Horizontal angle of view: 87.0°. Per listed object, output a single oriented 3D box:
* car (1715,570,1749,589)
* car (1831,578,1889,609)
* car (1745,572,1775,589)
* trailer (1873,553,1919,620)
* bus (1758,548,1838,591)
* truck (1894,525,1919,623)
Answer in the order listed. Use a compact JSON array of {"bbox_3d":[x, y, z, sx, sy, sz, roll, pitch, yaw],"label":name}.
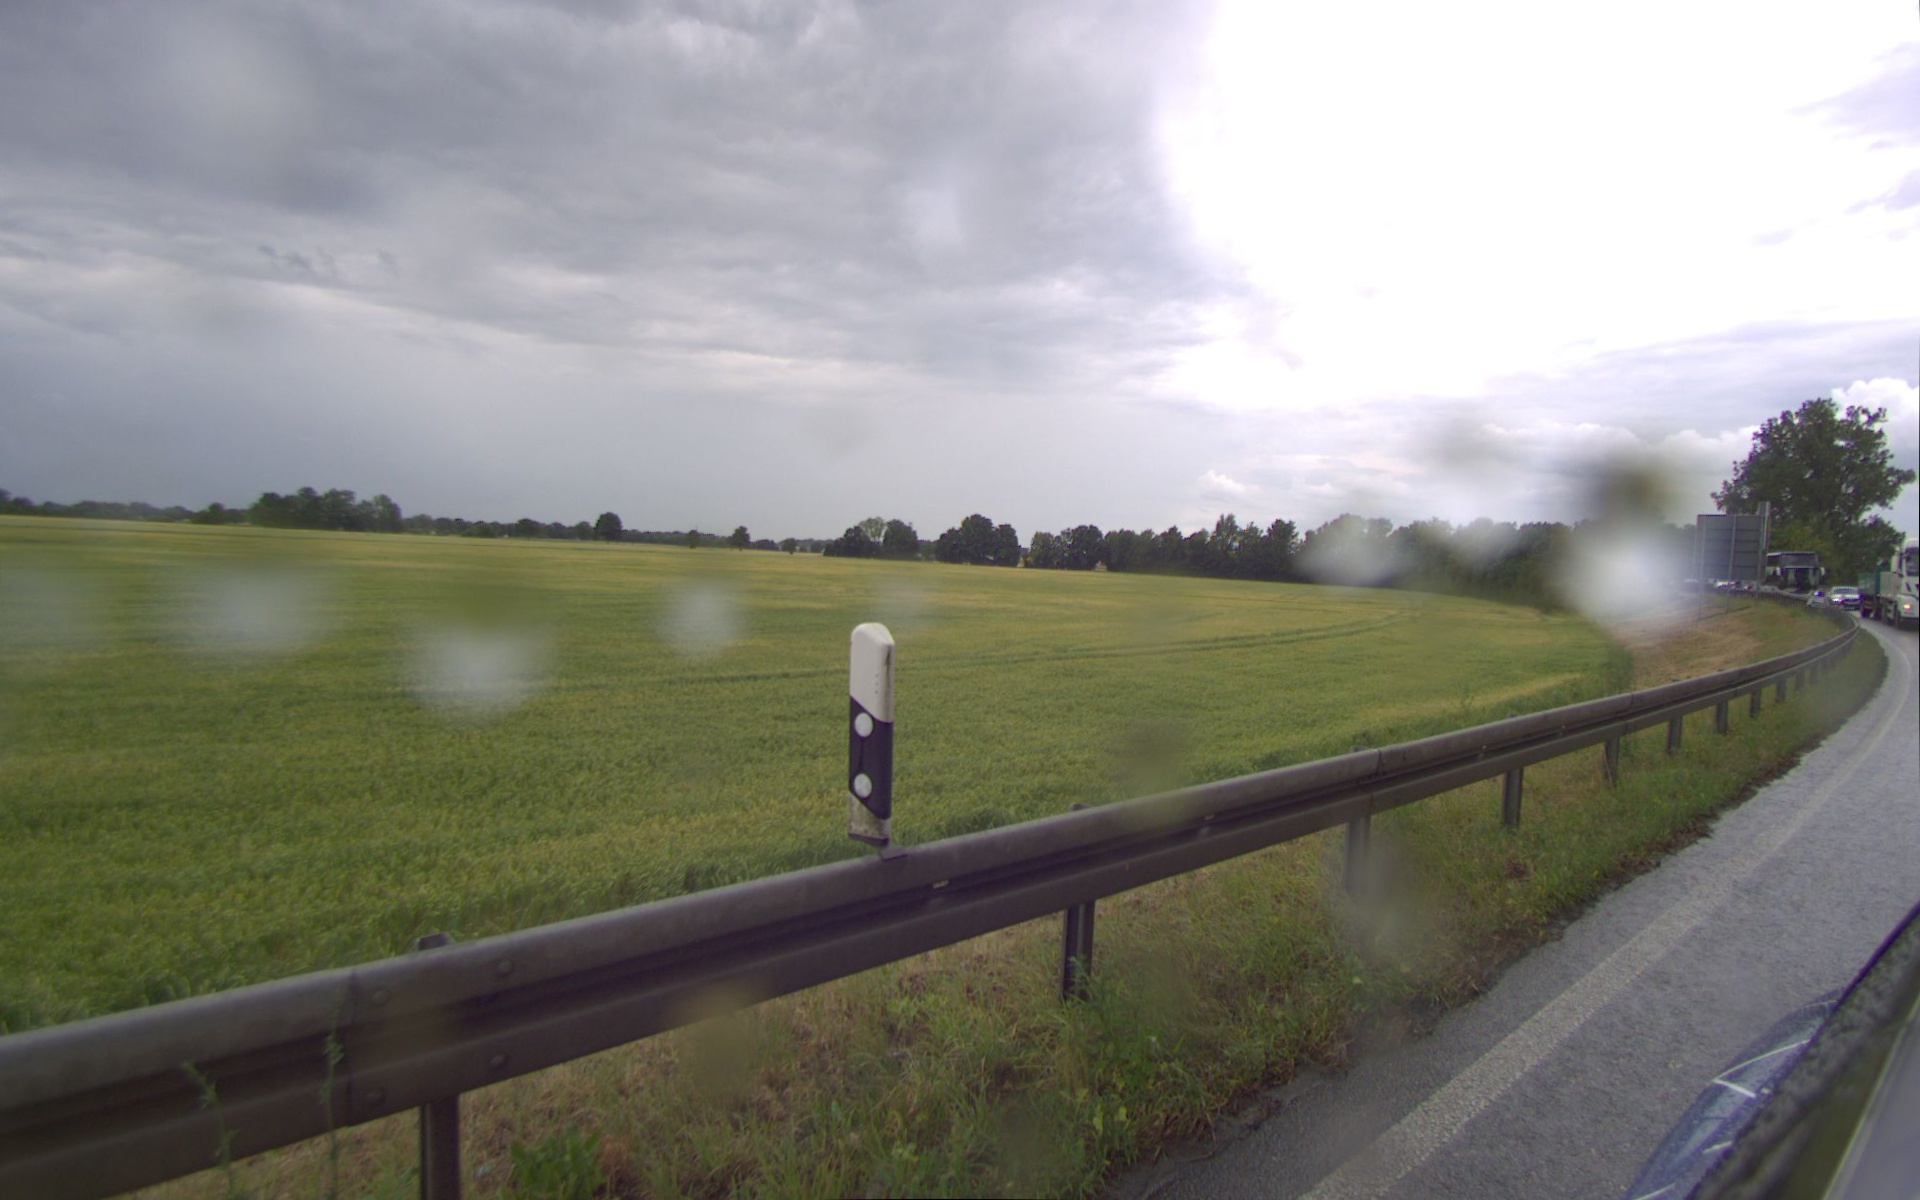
[{"bbox_3d":[86.911,-2.283,113.947,1.980,2.039,5.288,0,1,26],"label":"car"},{"bbox_3d":[56.656,-0.419,63.776,2.029,1.866,5.271,0,1,34],"label":"car"},{"bbox_3d":[80.300,-1.941,101.586,1.800,1.597,3.957,0,1,30],"label":"car"},{"bbox_3d":[43.766,-0.616,45.728,2.971,2.666,15.459,0,1,39],"label":"trailer"},{"bbox_3d":[71.076,-2.594,86.183,2.941,3.353,14.680,0,1,30],"label":"bus"},{"bbox_3d":[38.433,-1.002,39.200,2.971,3.655,5.994,0,1,39],"label":"truck"}]
